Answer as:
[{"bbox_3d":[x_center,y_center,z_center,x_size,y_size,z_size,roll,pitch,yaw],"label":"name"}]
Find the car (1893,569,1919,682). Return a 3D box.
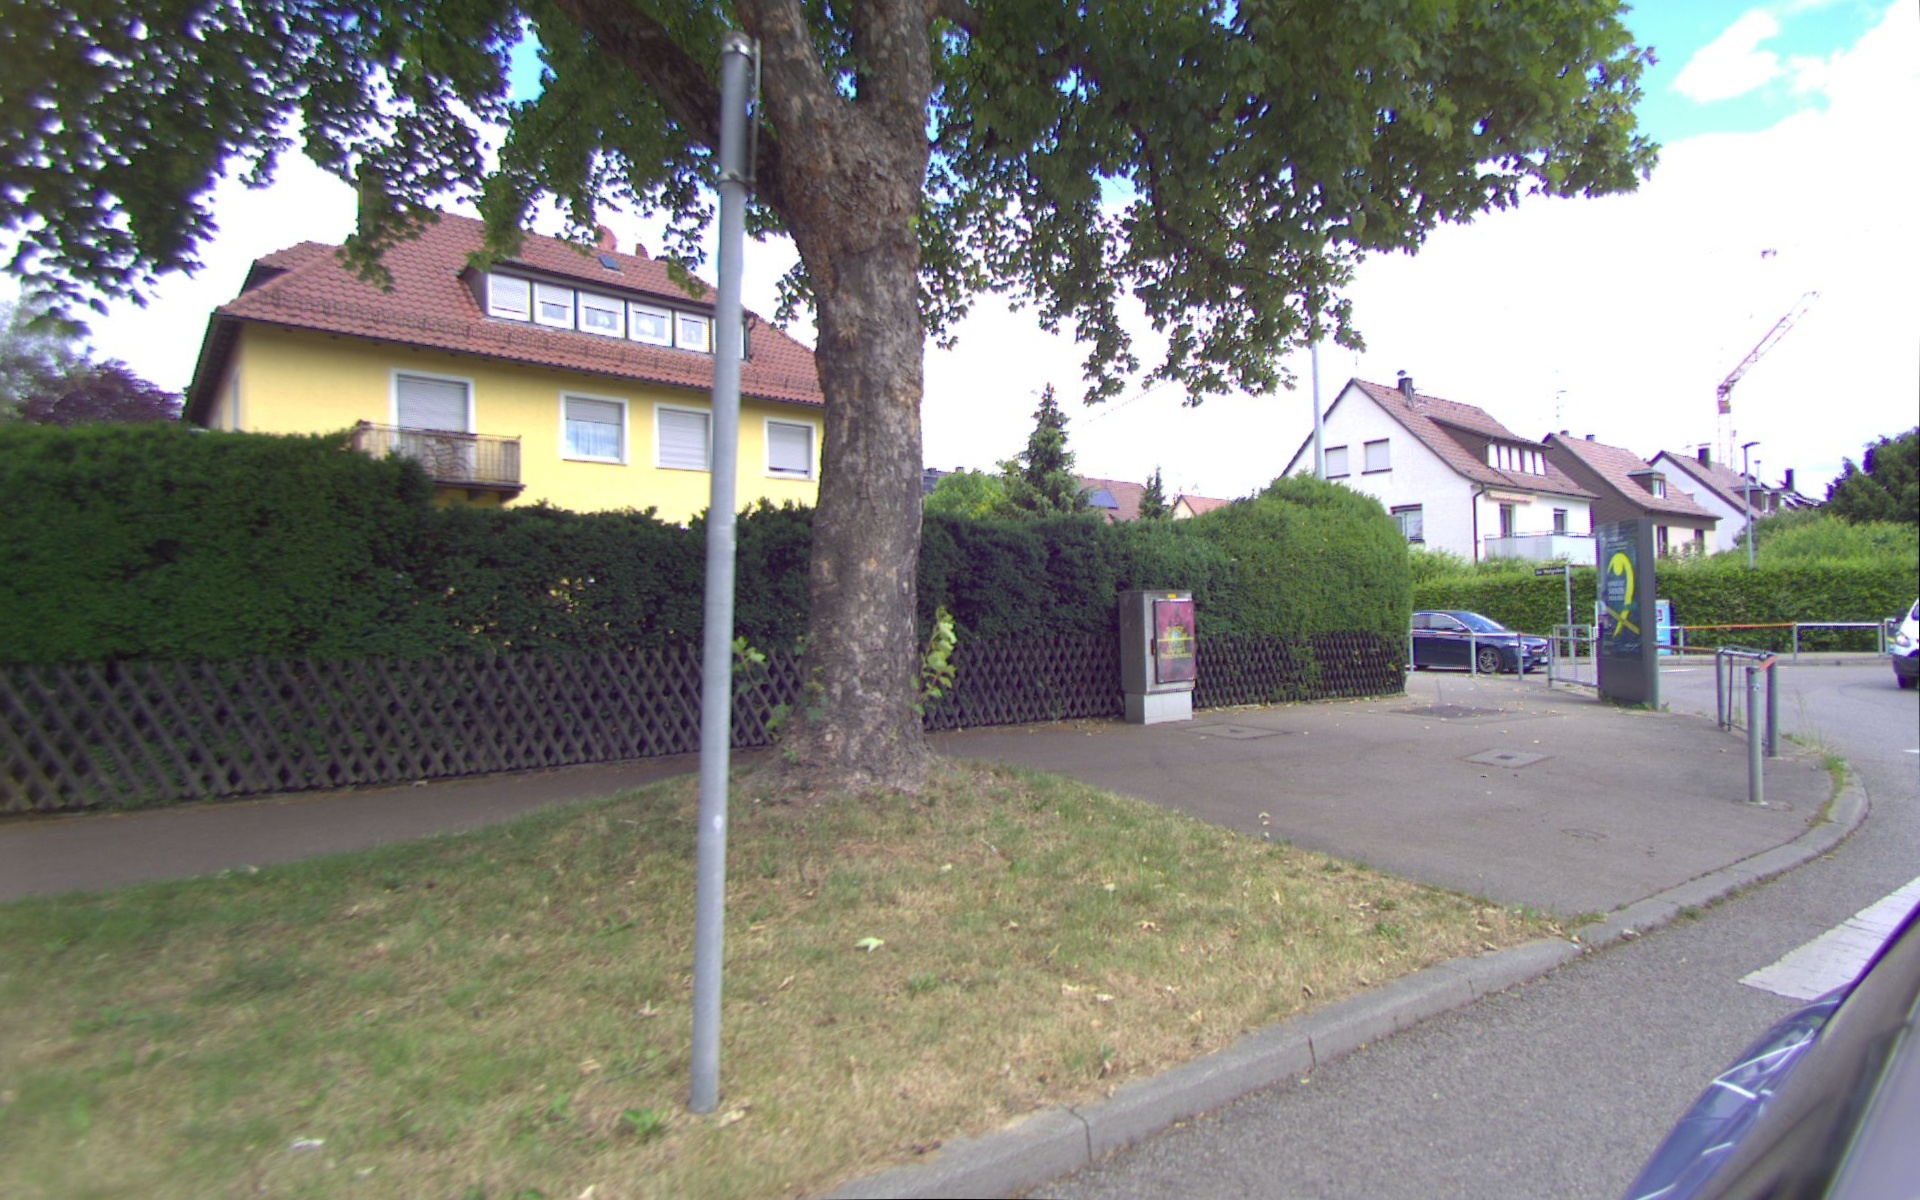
[{"bbox_3d":[19.796,0.448,18.879,4.948,2.039,2.002,0,-1,-29],"label":"car"}]

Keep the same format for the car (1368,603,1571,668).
[{"bbox_3d":[12.544,0.858,25.197,1.552,1.467,4.322,0,-1,-32],"label":"car"}]
